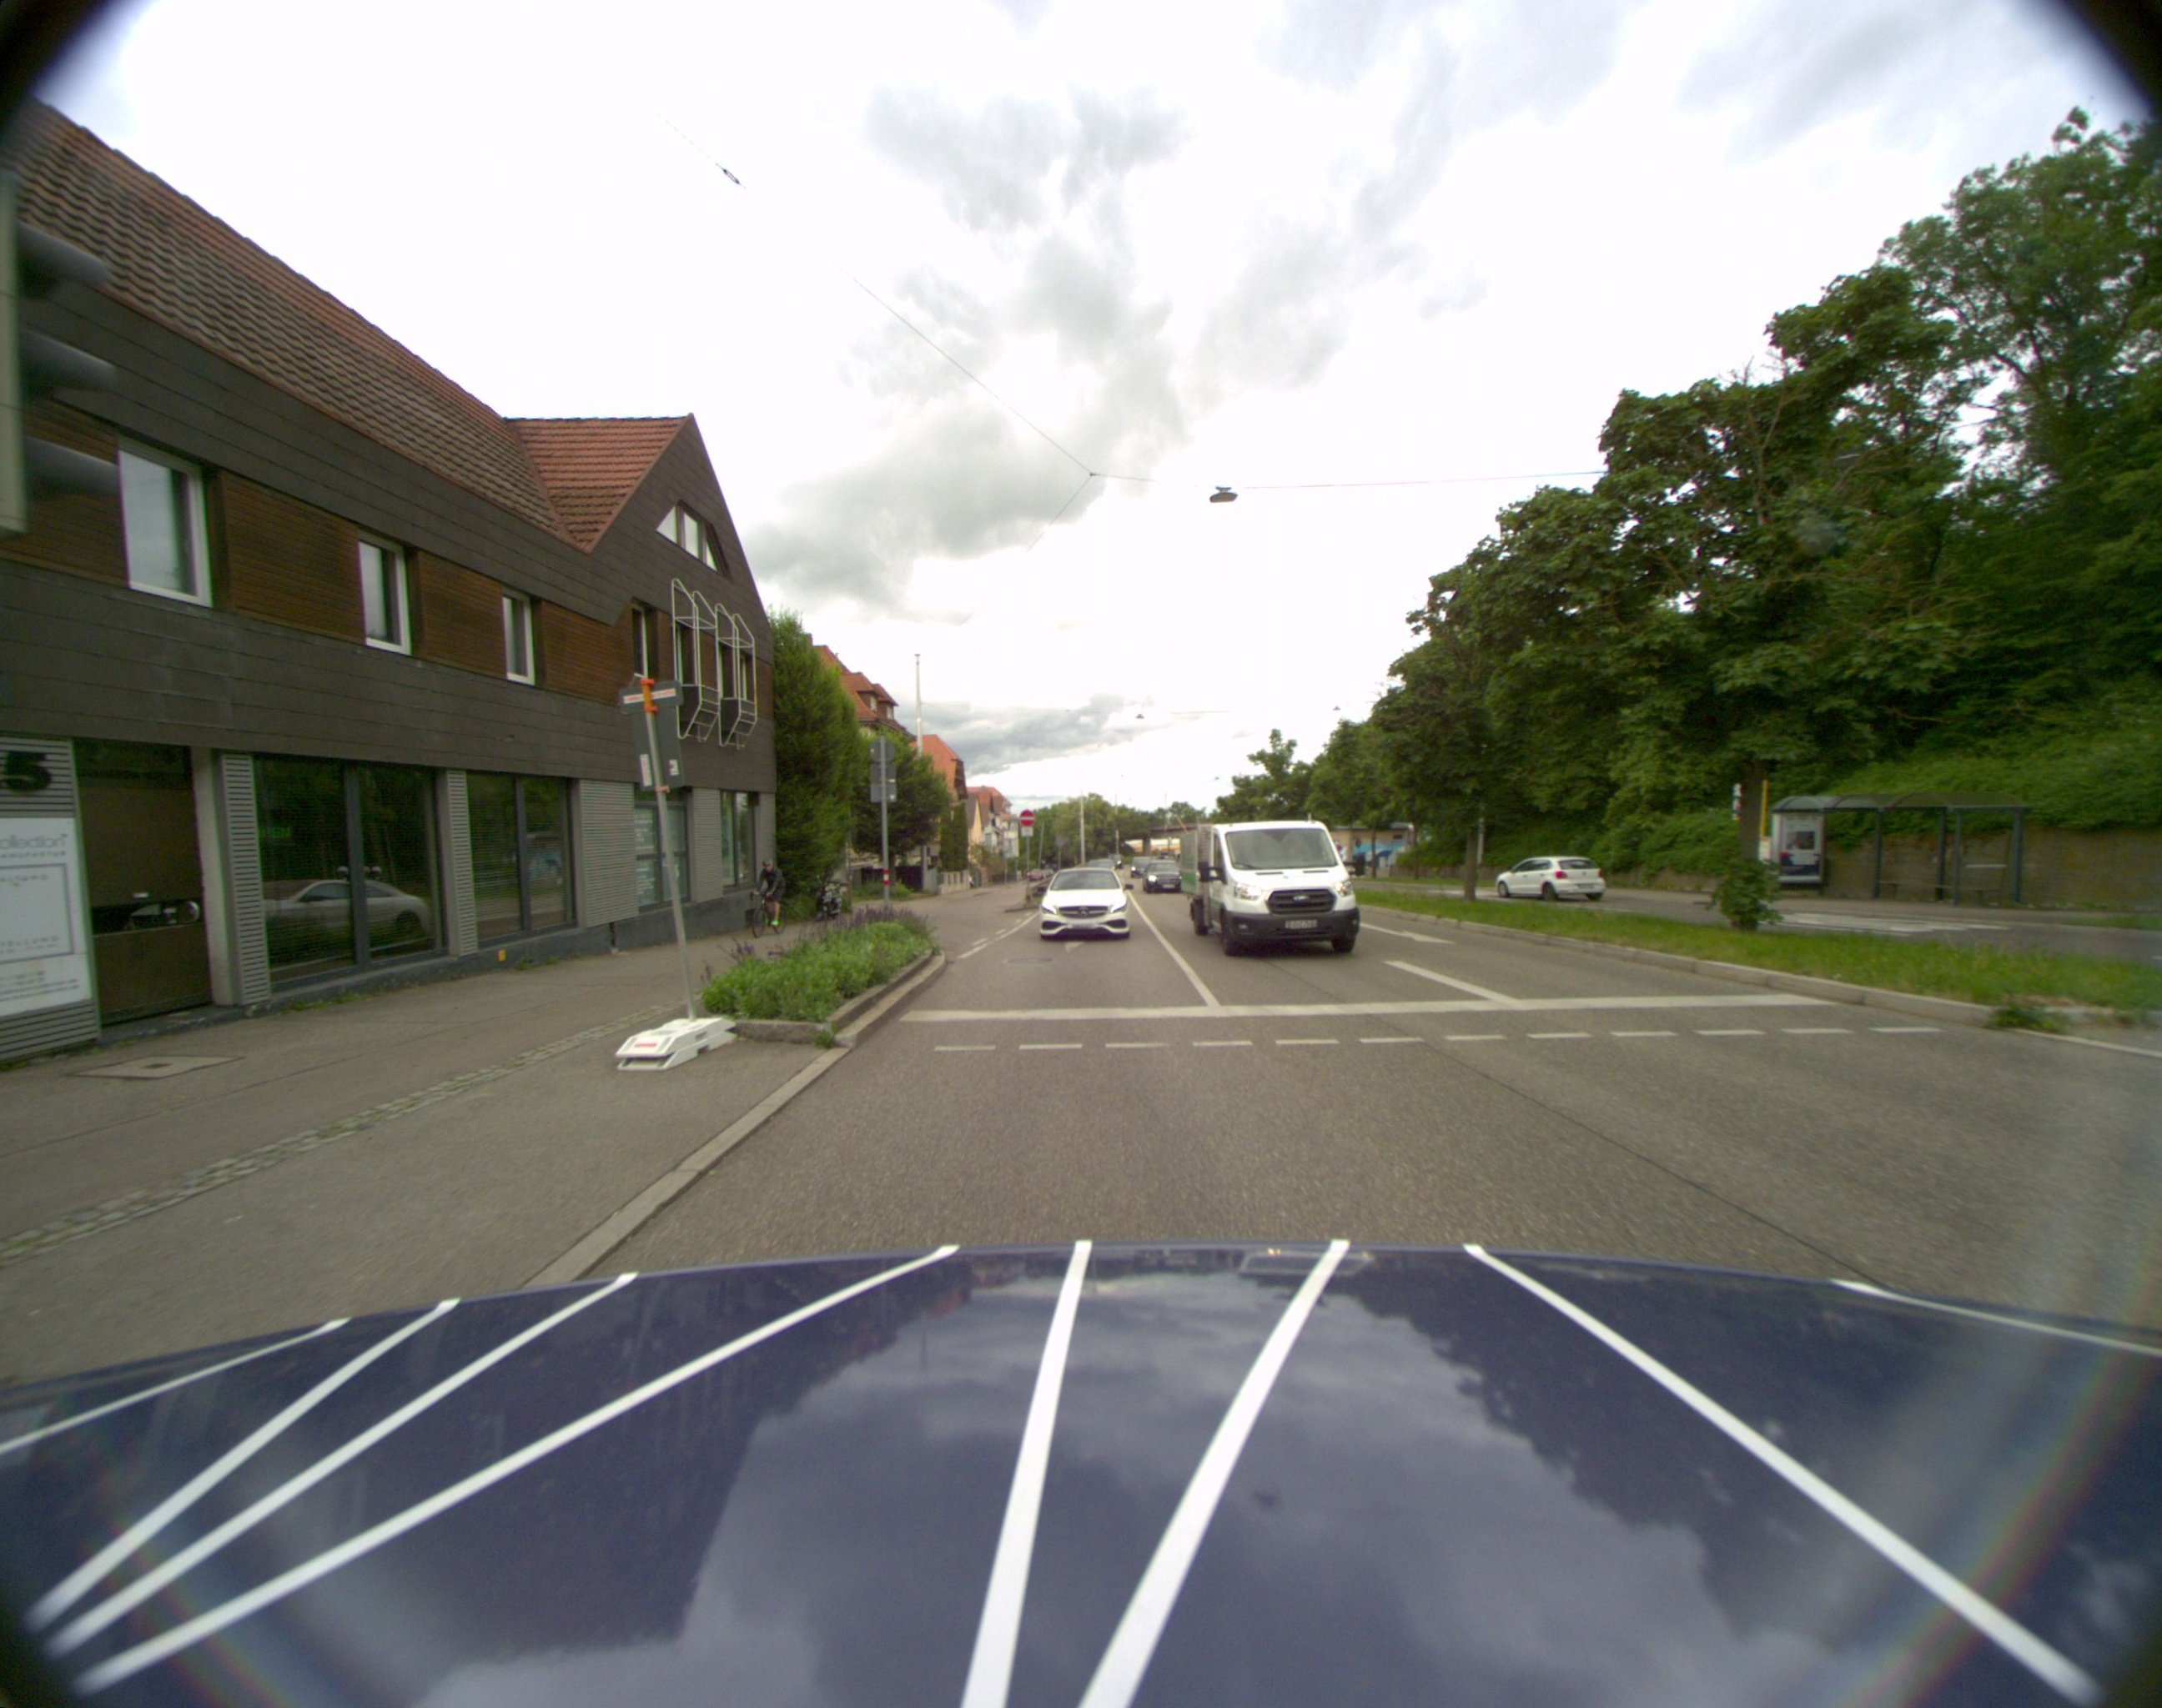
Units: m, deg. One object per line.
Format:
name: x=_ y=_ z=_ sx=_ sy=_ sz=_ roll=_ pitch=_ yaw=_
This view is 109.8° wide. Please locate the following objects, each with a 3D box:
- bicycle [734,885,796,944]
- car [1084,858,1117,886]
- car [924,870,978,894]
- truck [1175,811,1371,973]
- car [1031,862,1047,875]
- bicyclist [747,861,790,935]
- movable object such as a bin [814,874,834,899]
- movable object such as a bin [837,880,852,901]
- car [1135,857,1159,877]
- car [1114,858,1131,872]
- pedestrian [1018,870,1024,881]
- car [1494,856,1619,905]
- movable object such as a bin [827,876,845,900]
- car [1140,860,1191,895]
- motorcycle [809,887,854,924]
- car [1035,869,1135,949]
bicycle: x=-7.205 y=1.344 z=17.424 sx=0.572 sy=1.254 sz=2.039 roll=0 pitch=-1 yaw=0
car: x=1.186 y=1.030 z=44.171 sx=1.777 sy=1.532 sz=4.001 roll=-2 pitch=-1 yaw=2
car: x=-10.096 y=2.183 z=58.879 sx=3.799 sy=1.396 sz=1.545 roll=-6 pitch=0 yaw=-17
truck: x=3.158 y=0.540 z=14.119 sx=2.080 sy=2.307 sz=6.331 roll=-1 pitch=0 yaw=1
car: x=-5.595 y=1.928 z=102.374 sx=1.923 sy=1.641 sz=4.000 roll=-2 pitch=0 yaw=0
bicyclist: x=-7.152 y=0.989 z=17.406 sx=0.539 sy=1.623 sz=0.947 roll=-2 pitch=0 yaw=1
movable object such as a bin: x=-11.688 y=1.478 z=34.566 sx=0.543 sy=1.073 sz=0.656 roll=5 pitch=0 yaw=1
movable object such as a bin: x=-10.742 y=1.655 z=34.587 sx=0.453 sy=0.934 sz=0.561 roll=3 pitch=0 yaw=1
car: x=5.199 y=1.004 z=60.336 sx=1.777 sy=1.520 sz=4.001 roll=0 pitch=-1 yaw=3
car: x=5.250 y=1.379 z=95.257 sx=1.776 sy=1.783 sz=4.003 roll=0 pitch=-1 yaw=7
pedestrian: x=-7.612 y=2.717 z=96.373 sx=0.713 sy=1.462 sz=0.695 roll=-2 pitch=0 yaw=-1
car: x=15.784 y=0.831 z=25.477 sx=1.733 sy=1.420 sz=3.789 roll=-2 pitch=0 yaw=-1
movable object such as a bin: x=-11.142 y=1.534 z=34.574 sx=0.543 sy=1.048 sz=0.561 roll=5 pitch=0 yaw=1
car: x=3.859 y=1.077 z=35.525 sx=1.915 sy=1.472 sz=4.401 roll=-2 pitch=-1 yaw=1
motorcycle: x=-7.856 y=1.604 z=24.036 sx=0.697 sy=1.045 sz=1.967 roll=0 pitch=-1 yaw=2
car: x=0.169 y=1.060 z=16.094 sx=1.817 sy=1.390 sz=4.001 roll=-1 pitch=0 yaw=3
